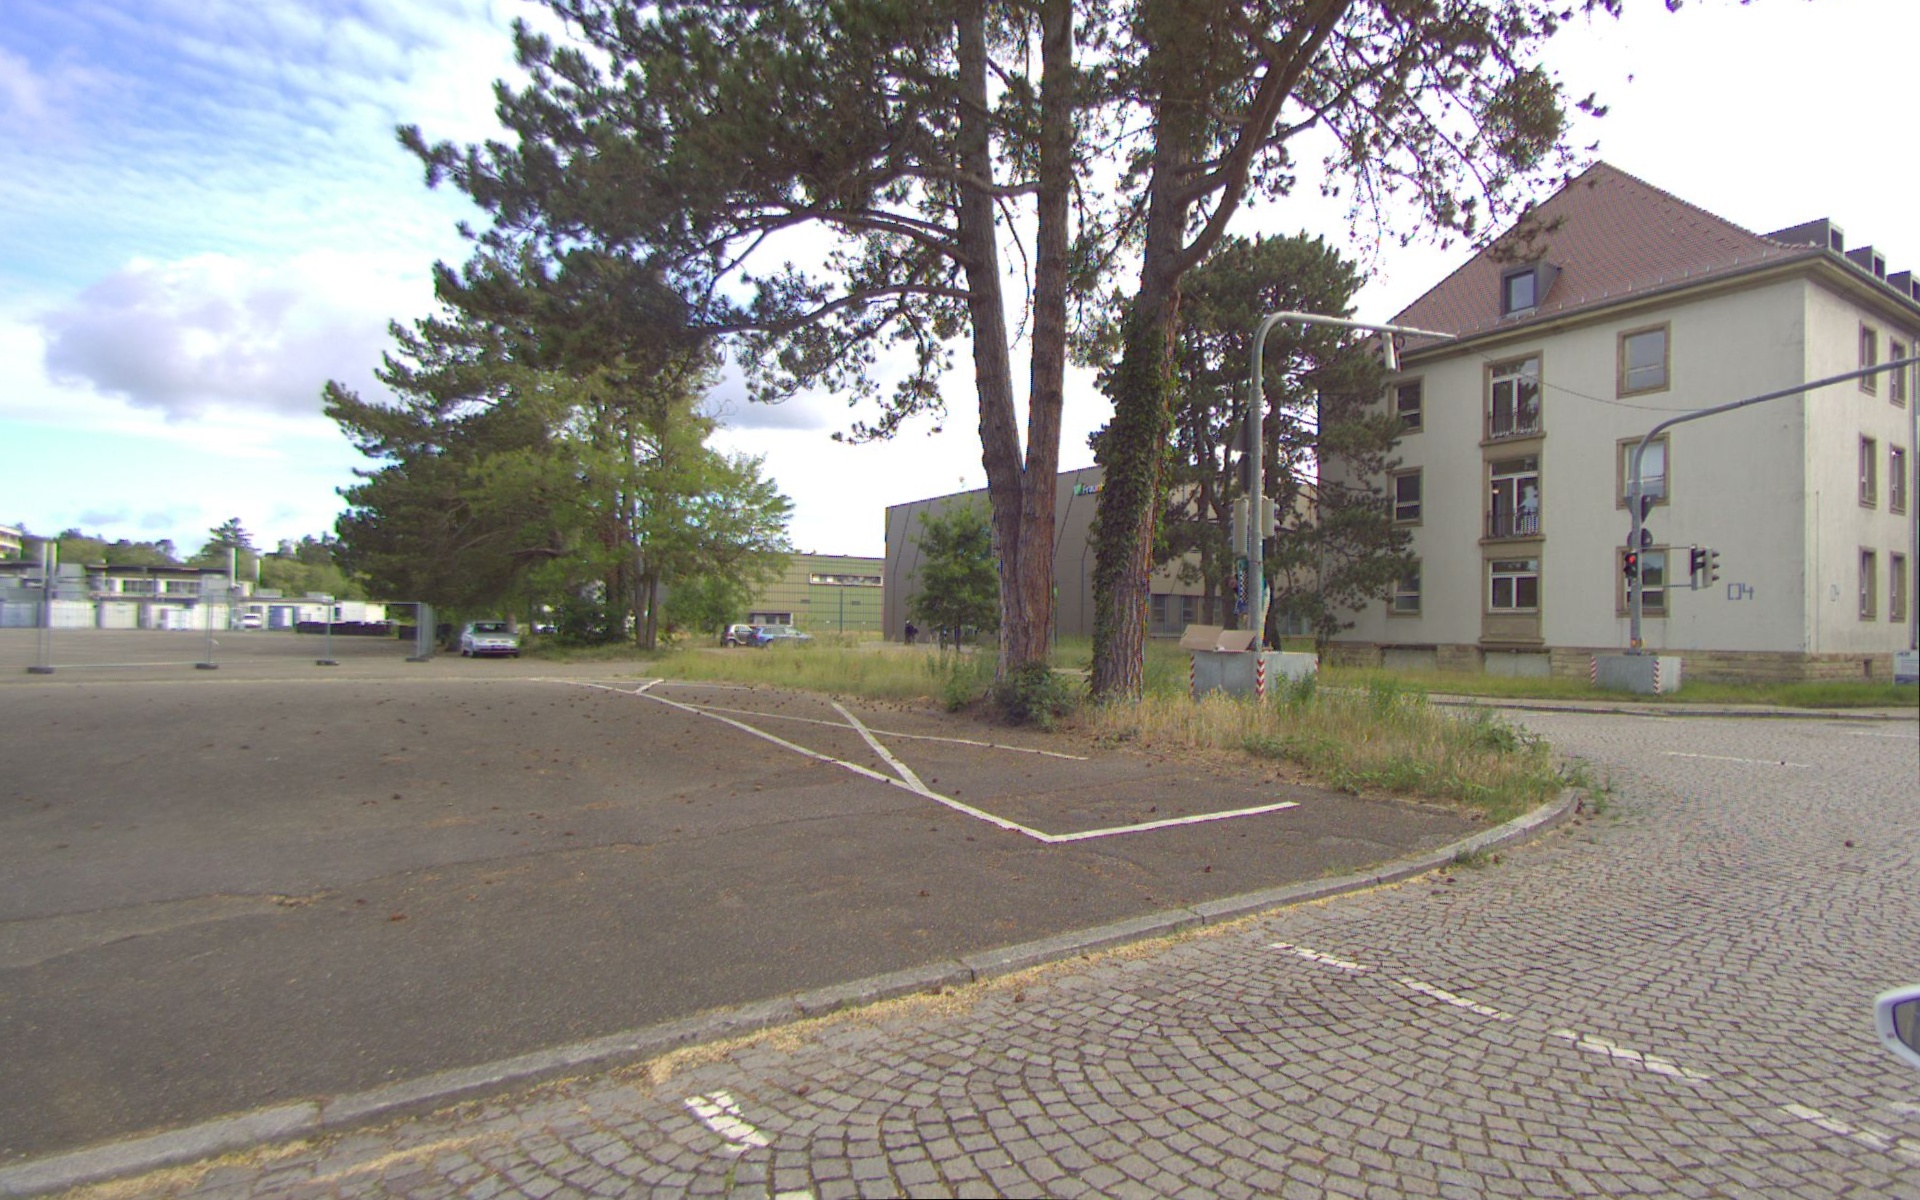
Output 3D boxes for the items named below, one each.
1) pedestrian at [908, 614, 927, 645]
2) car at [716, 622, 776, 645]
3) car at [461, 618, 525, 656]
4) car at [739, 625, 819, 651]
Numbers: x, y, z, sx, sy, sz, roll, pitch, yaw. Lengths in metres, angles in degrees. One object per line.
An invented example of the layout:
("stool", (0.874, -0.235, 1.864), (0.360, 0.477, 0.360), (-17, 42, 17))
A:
("pedestrian", (-2.762, 1.910, 65.324), (0.890, 2.040, 0.915), (1, -1, -26))
("car", (-14.590, 2.289, 68.471), (3.618, 1.449, 1.983), (0, 0, -31))
("car", (-18.425, 1.432, 39.570), (1.680, 1.410, 3.962), (2, -2, -34))
("car", (-11.138, 2.305, 61.903), (4.409, 1.449, 1.983), (0, 0, -32))
